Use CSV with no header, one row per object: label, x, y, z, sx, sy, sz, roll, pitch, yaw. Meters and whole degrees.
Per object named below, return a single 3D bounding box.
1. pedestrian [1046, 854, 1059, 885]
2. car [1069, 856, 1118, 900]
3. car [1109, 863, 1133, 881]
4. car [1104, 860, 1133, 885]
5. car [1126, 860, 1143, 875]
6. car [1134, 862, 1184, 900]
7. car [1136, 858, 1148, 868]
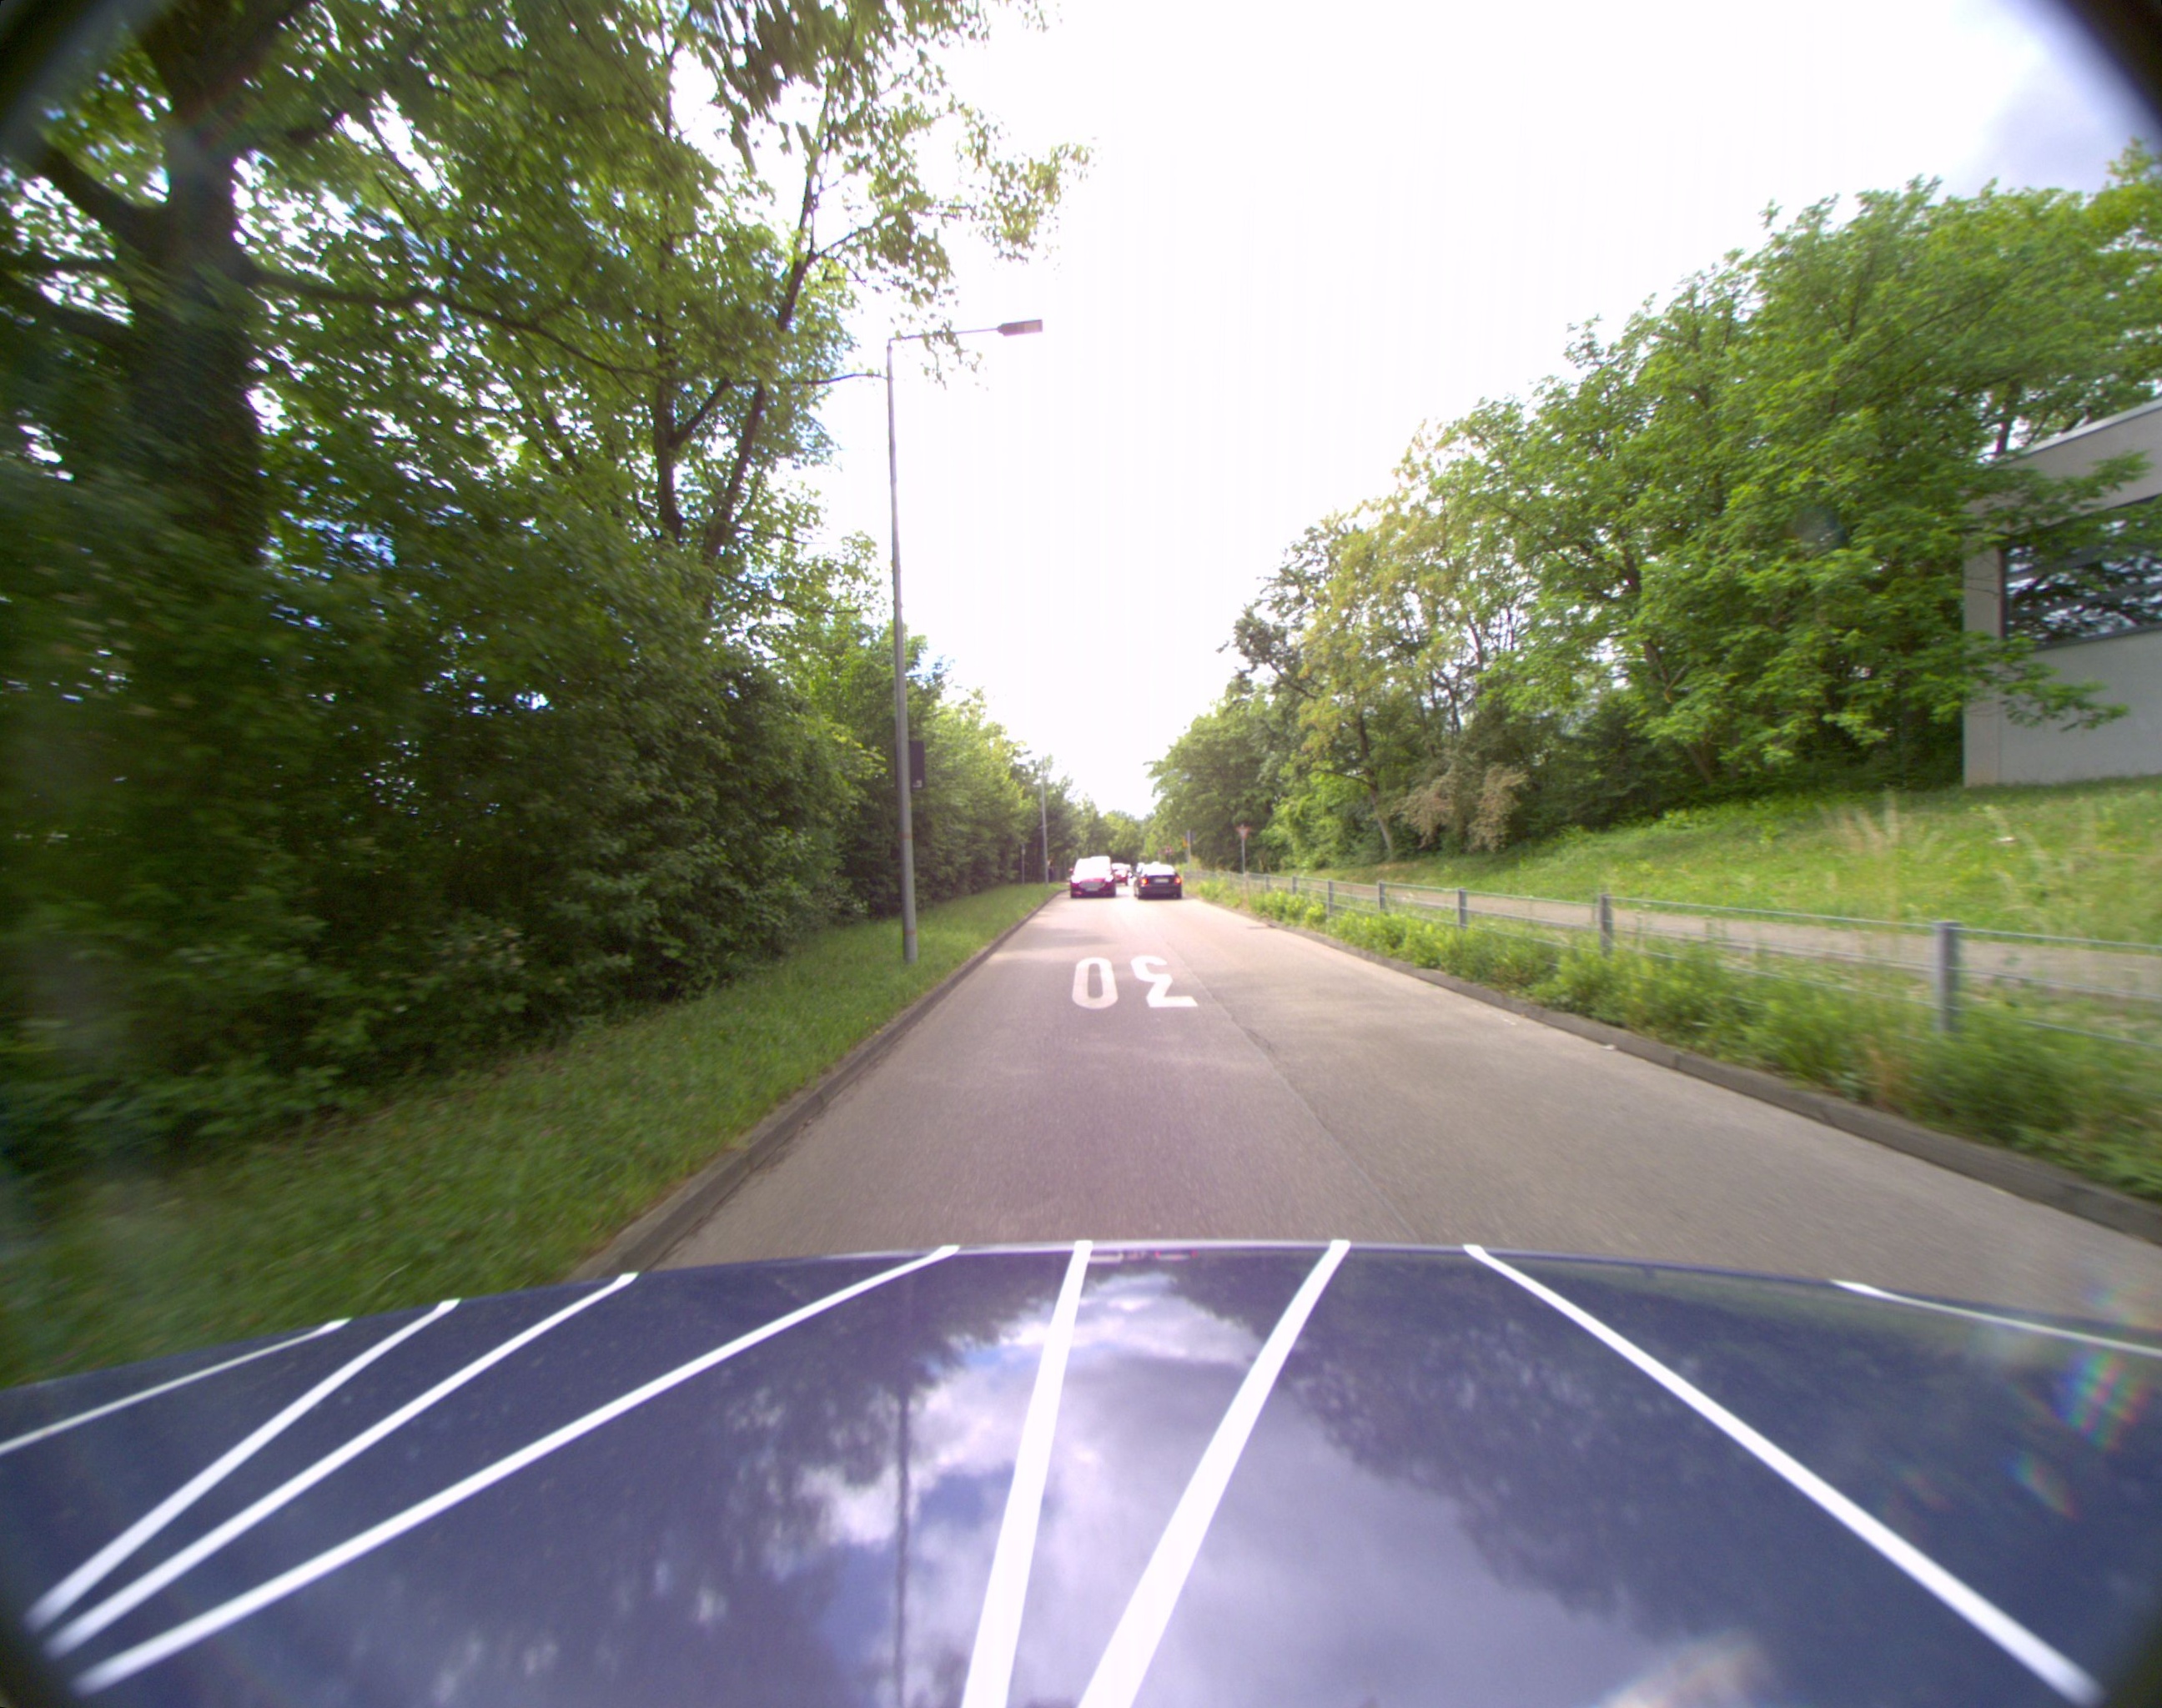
pedestrian,-1.699,0.911,45.236,0.674,1.826,0.606,-2,1,-2
car,0.578,0.952,31.918,1.861,1.608,4.476,-2,0,2
car,3.861,1.701,72.812,1.998,1.587,4.001,-2,1,6
car,2.457,1.210,50.886,1.792,1.483,4.000,-2,1,2
car,6.278,1.579,89.981,1.801,1.434,3.999,-2,2,2
car,3.033,1.026,30.194,1.620,1.324,4.000,-2,0,2
car,9.872,1.440,122.528,1.717,1.521,3.671,-2,1,8
